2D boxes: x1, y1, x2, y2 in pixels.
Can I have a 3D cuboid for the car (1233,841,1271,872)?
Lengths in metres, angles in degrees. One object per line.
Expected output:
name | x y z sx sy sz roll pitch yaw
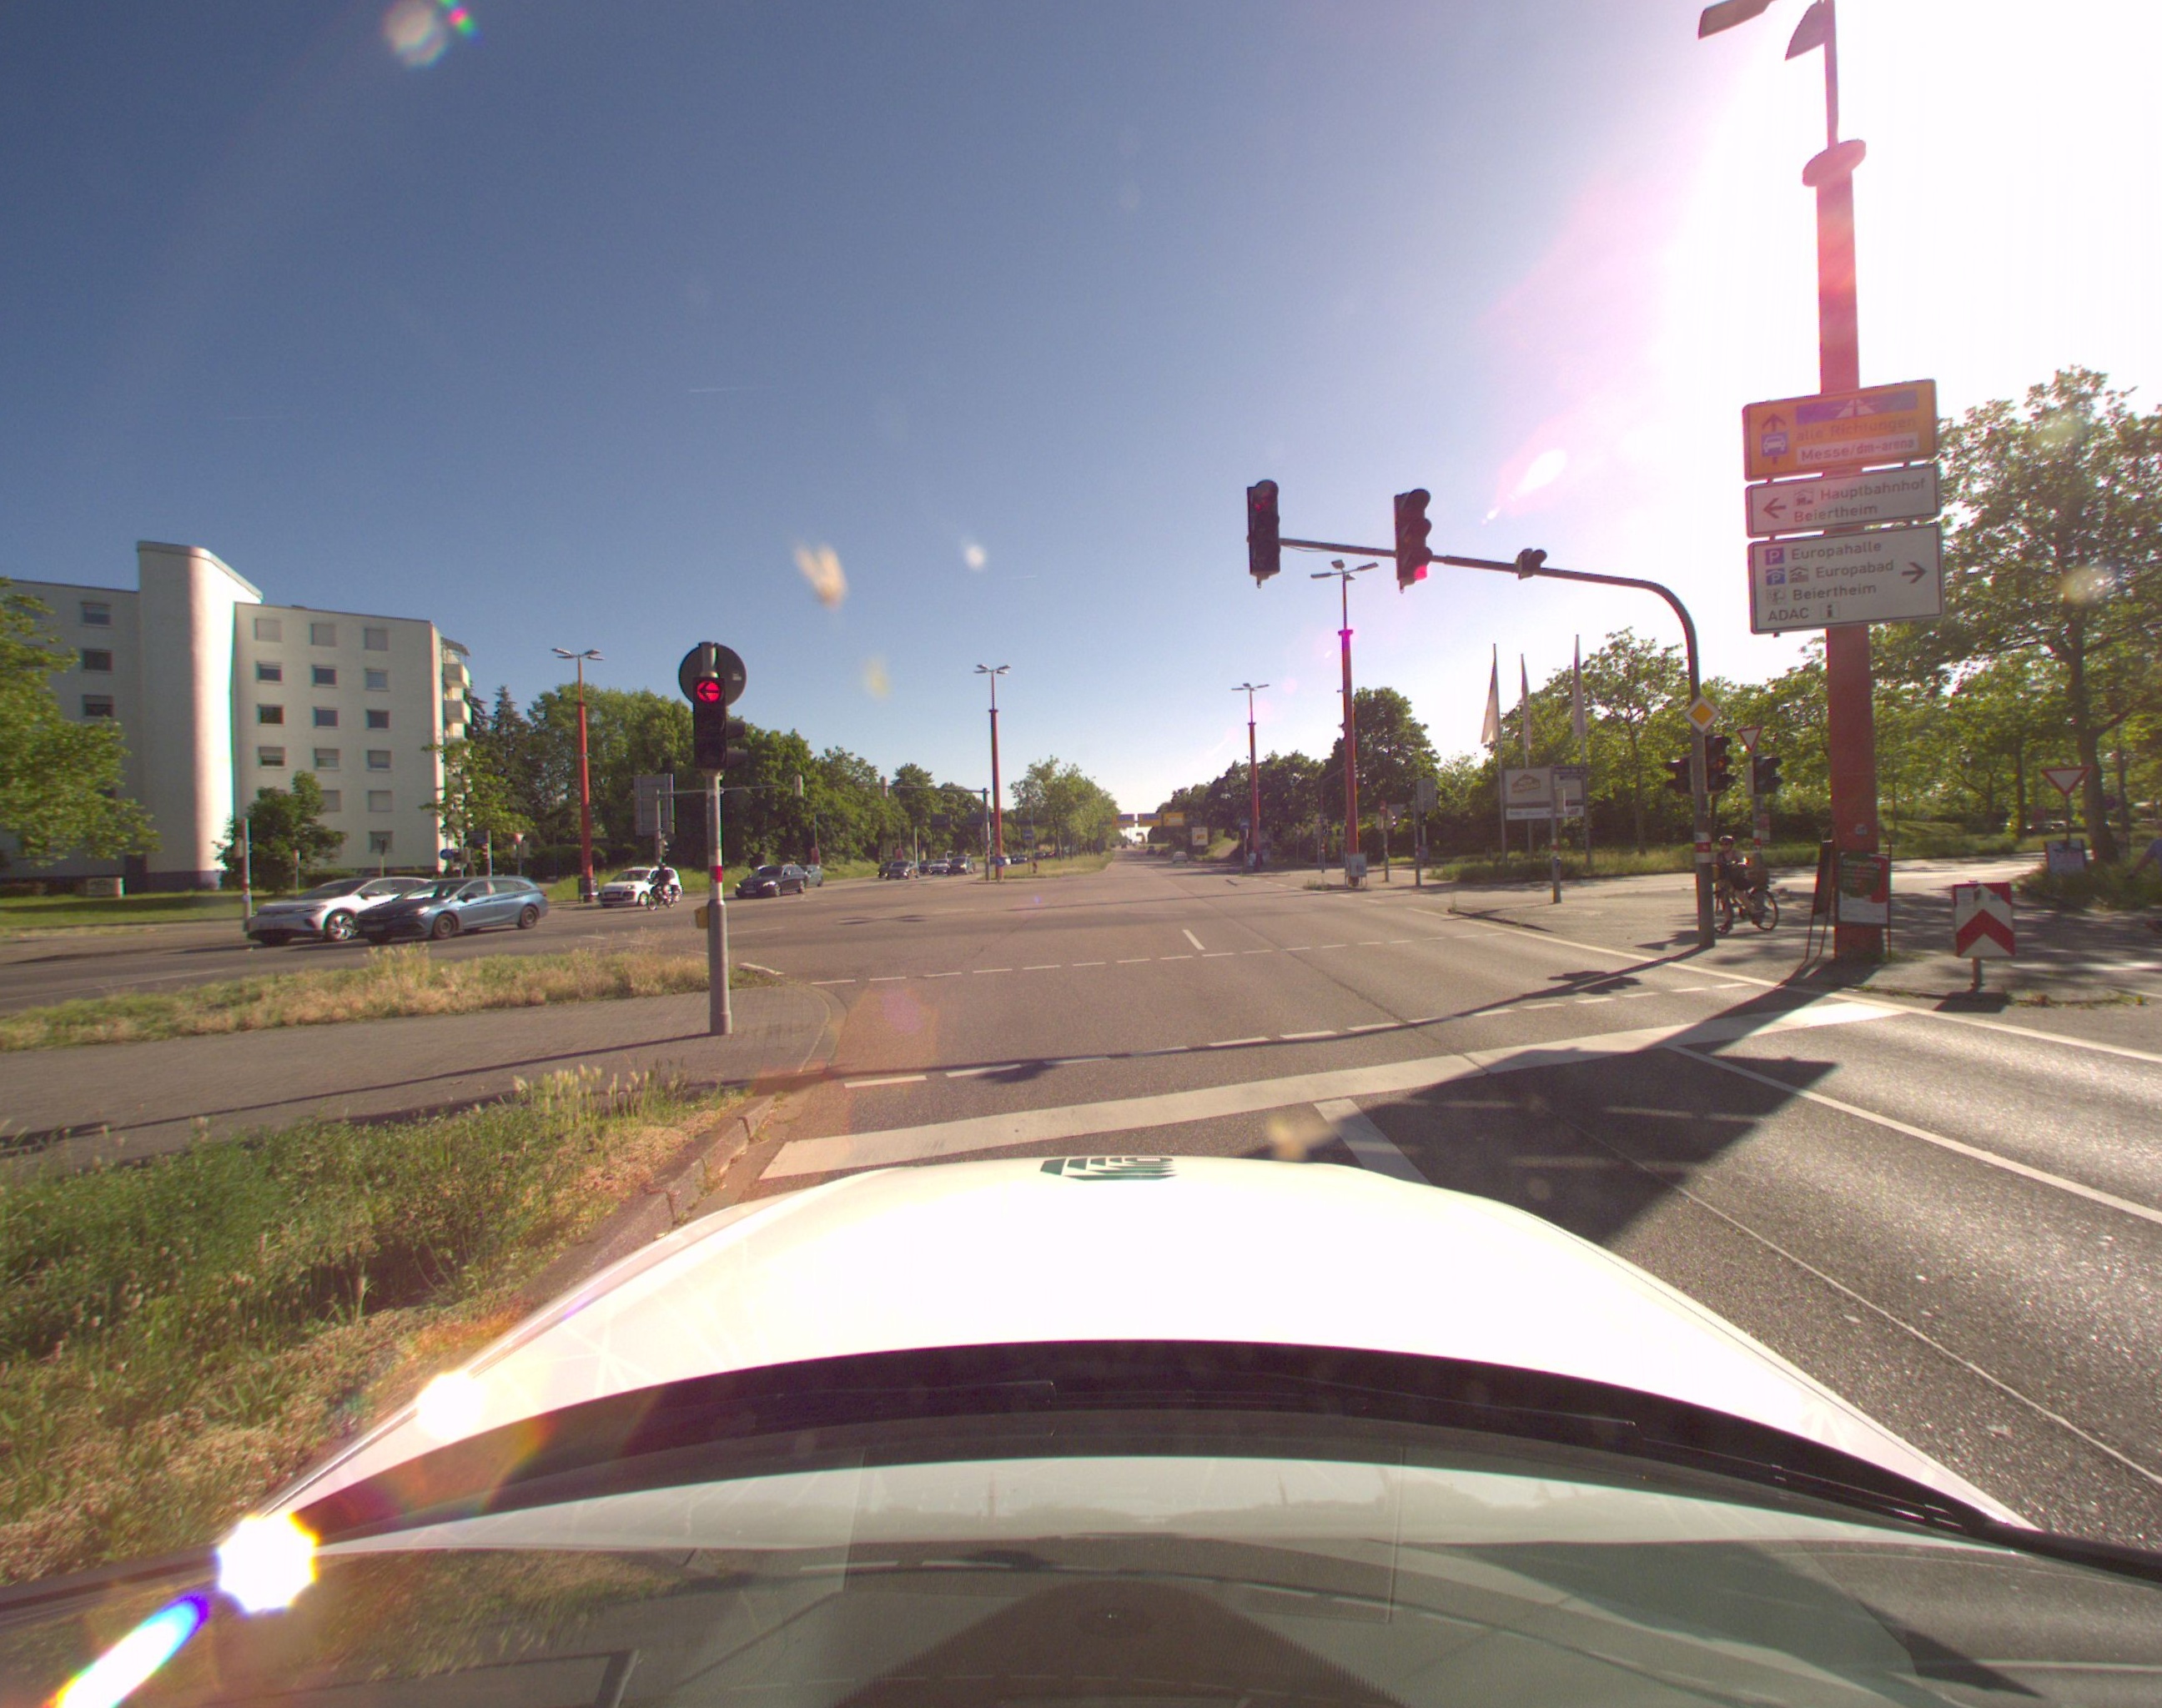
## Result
car | 11.398 0.139 54.126 1.977 1.887 4.019 -2 0 19

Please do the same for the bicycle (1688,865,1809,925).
bicycle | 11.082 0.652 13.506 2.170 0.878 0.556 -2 0 -22

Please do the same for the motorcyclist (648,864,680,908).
motorcyclist | -15.455 1.196 30.196 0.830 1.599 0.642 -1 -1 9

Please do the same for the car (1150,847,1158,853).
car | 19.052 -1.142 212.475 1.985 1.540 4.003 -1 0 3

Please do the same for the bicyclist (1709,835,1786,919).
bicyclist | 11.170 0.368 13.651 0.742 1.341 0.702 -2 0 -22

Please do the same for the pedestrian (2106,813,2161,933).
pedestrian | 16.500 0.270 12.399 0.895 1.788 0.894 -1 1 -22

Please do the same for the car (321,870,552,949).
car | -15.884 1.296 20.459 1.984 1.594 4.469 -2 0 5

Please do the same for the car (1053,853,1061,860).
car | -5.788 0.583 198.445 1.601 1.730 3.792 -1 0 3

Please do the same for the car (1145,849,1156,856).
car | 15.937 -0.410 187.839 1.989 1.496 3.995 -2 0 -4

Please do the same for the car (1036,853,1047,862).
car | -7.692 0.640 159.999 1.618 1.739 4.004 -2 0 3

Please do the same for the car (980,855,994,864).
car | -14.938 0.859 129.624 1.622 1.450 3.436 -1 0 3

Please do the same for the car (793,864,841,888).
car | -16.695 1.361 51.606 1.424 1.388 4.144 -1 0 4

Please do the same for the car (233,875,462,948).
car | -19.298 1.430 21.754 1.830 1.601 4.443 -2 0 5

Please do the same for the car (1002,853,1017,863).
car | -10.924 0.621 124.793 1.696 1.558 3.807 -1 0 4

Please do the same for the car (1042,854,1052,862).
car | -7.490 0.829 178.082 1.649 1.747 4.004 -1 0 4

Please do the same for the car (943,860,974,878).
car | -10.208 1.220 68.187 1.694 1.421 4.003 1 0 3

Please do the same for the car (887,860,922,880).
car | -13.592 1.223 62.994 1.542 1.377 4.265 -2 0 2

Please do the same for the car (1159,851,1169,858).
car | 16.758 0.115 164.019 1.731 1.341 3.084 -2 0 3

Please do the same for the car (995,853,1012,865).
car | -10.791 0.738 113.288 1.696 1.596 4.004 -1 0 4

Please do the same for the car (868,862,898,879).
car | -18.052 1.480 74.357 1.538 1.433 3.889 -3 -1 3

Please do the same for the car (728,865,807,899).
car | -14.784 1.274 38.672 1.869 1.485 4.606 -1 0 1

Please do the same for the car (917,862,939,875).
car | -15.612 1.420 83.317 1.448 1.273 3.614 -1 0 1

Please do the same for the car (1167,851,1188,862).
car | 12.871 0.283 108.659 2.049 1.371 4.388 -2 0 -2

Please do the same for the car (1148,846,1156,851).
car | 22.825 -1.892 261.619 1.981 1.540 4.012 -2 0 10

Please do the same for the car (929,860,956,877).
car | -12.914 1.302 76.266 1.598 1.459 3.954 -2 0 3

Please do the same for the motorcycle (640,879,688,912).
motorcycle | -15.465 1.516 30.270 0.418 1.131 2.101 -1 0 10

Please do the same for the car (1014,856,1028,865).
car | -10.044 1.067 136.412 1.997 1.308 3.999 -2 0 0

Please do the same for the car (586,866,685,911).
car | -18.973 1.435 34.921 1.793 1.707 4.063 -2 0 3
